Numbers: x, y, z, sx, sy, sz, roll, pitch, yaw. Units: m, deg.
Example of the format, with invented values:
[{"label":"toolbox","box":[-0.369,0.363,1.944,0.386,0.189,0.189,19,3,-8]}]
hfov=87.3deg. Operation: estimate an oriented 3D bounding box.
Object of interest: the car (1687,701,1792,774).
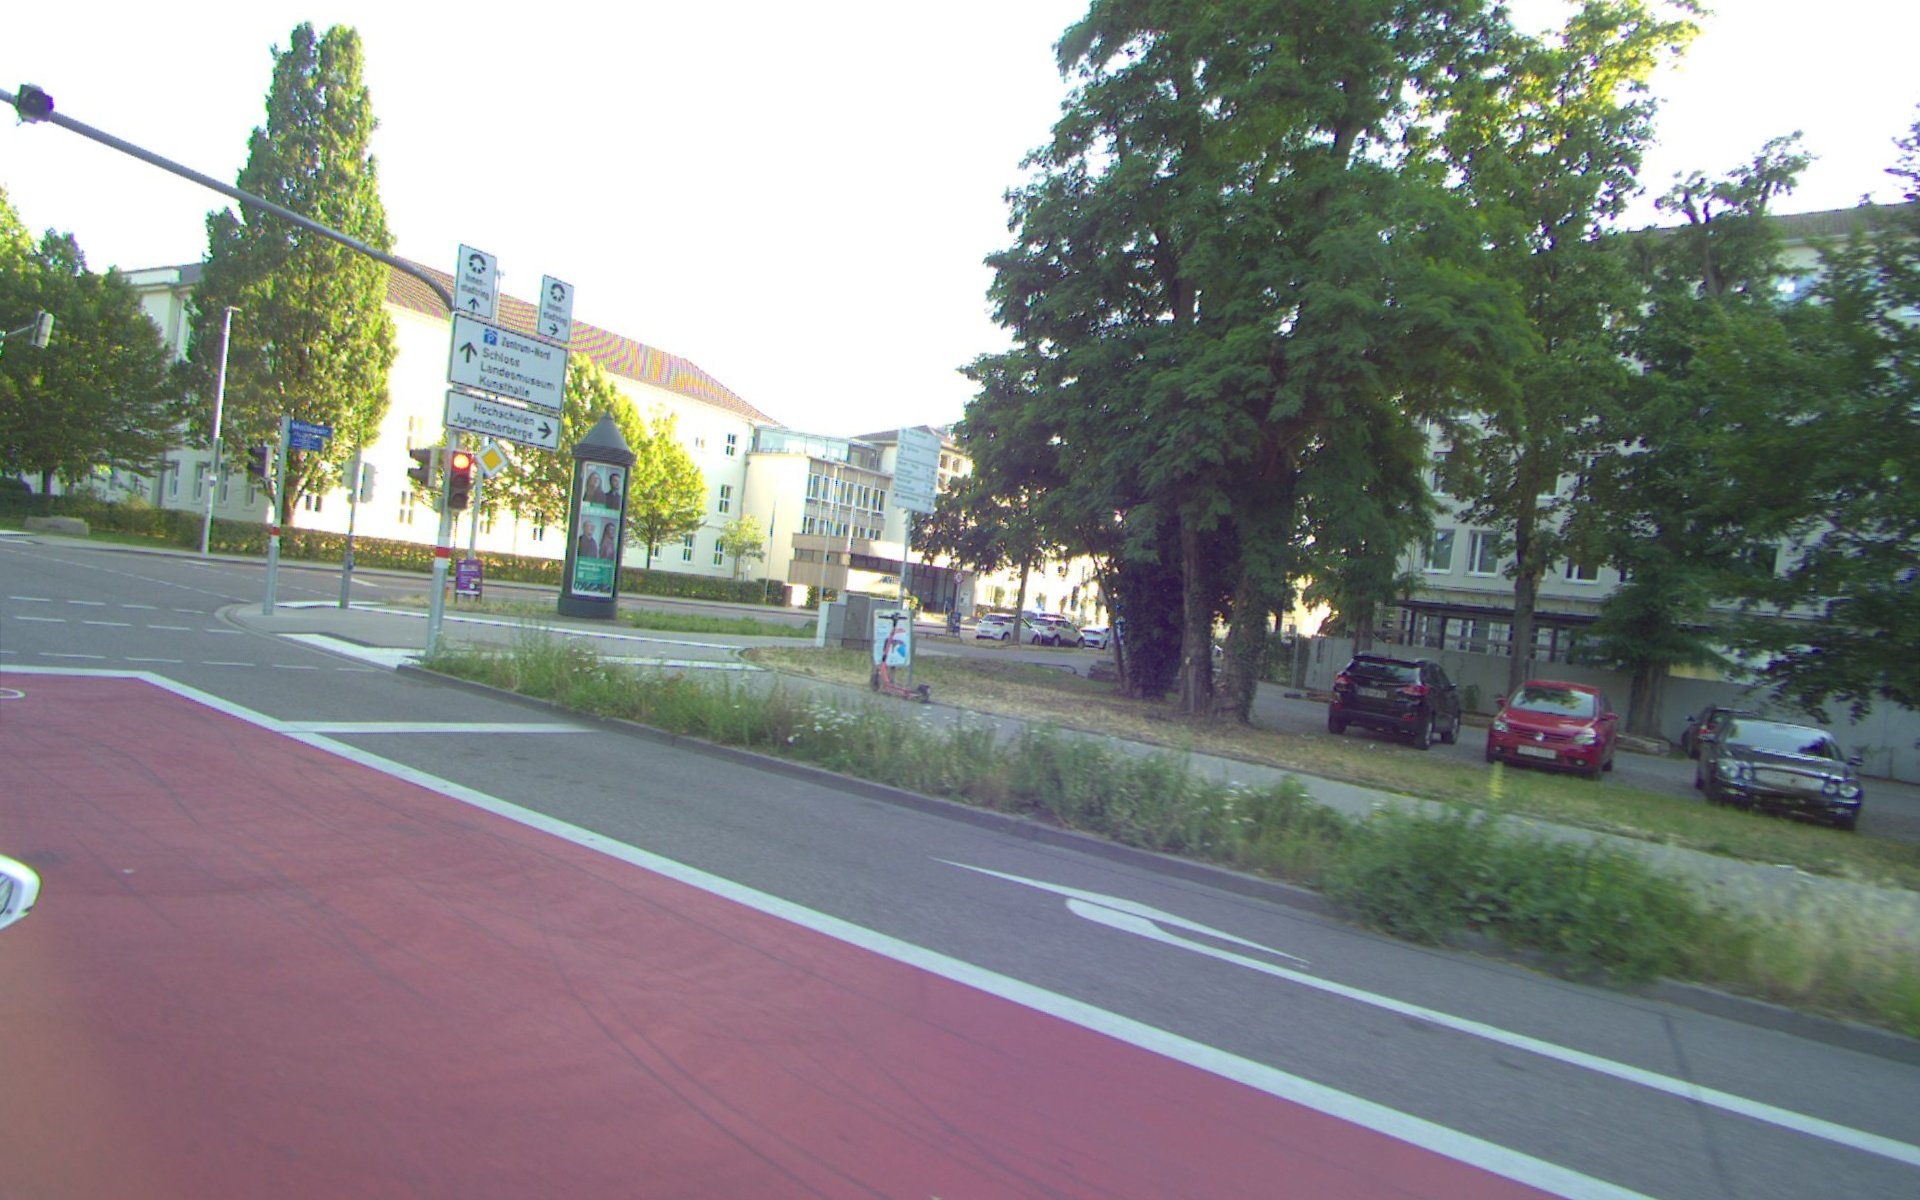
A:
[{"label":"car","box":[20.044,3.497,25.978,1.873,1.459,3.988,7,-1,37]}]

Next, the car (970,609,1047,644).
[{"label":"car","box":[2.444,1.331,49.727,1.793,1.358,3.985,7,0,37]}]

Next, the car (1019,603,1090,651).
[{"label":"car","box":[5.043,1.456,53.198,1.713,2.037,3.988,7,-1,36]}]

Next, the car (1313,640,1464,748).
[{"label":"car","box":[8.619,1.880,20.056,1.808,1.714,3.899,7,-1,36]}]

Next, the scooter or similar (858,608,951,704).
[{"label":"scooter or similar","box":[-0.829,0.817,14.836,1.289,1.246,0.311,7,1,32]}]

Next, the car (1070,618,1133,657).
[{"label":"car","box":[8.061,2.178,57.102,1.721,1.782,3.989,7,-1,35]}]

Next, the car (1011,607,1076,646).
[{"label":"car","box":[4.767,1.539,57.181,1.721,1.782,3.989,7,-1,35]}]

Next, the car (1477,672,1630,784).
[{"label":"car","box":[10.886,2.253,18.321,1.759,1.580,3.984,7,0,38]}]

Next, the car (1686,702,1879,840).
[{"label":"car","box":[13.017,2.584,16.204,1.871,1.467,4.568,5,1,34]}]

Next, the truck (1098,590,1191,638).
[{"label":"truck","box":[12.900,1.053,69.449,2.327,2.315,10.051,7,-1,34]}]
